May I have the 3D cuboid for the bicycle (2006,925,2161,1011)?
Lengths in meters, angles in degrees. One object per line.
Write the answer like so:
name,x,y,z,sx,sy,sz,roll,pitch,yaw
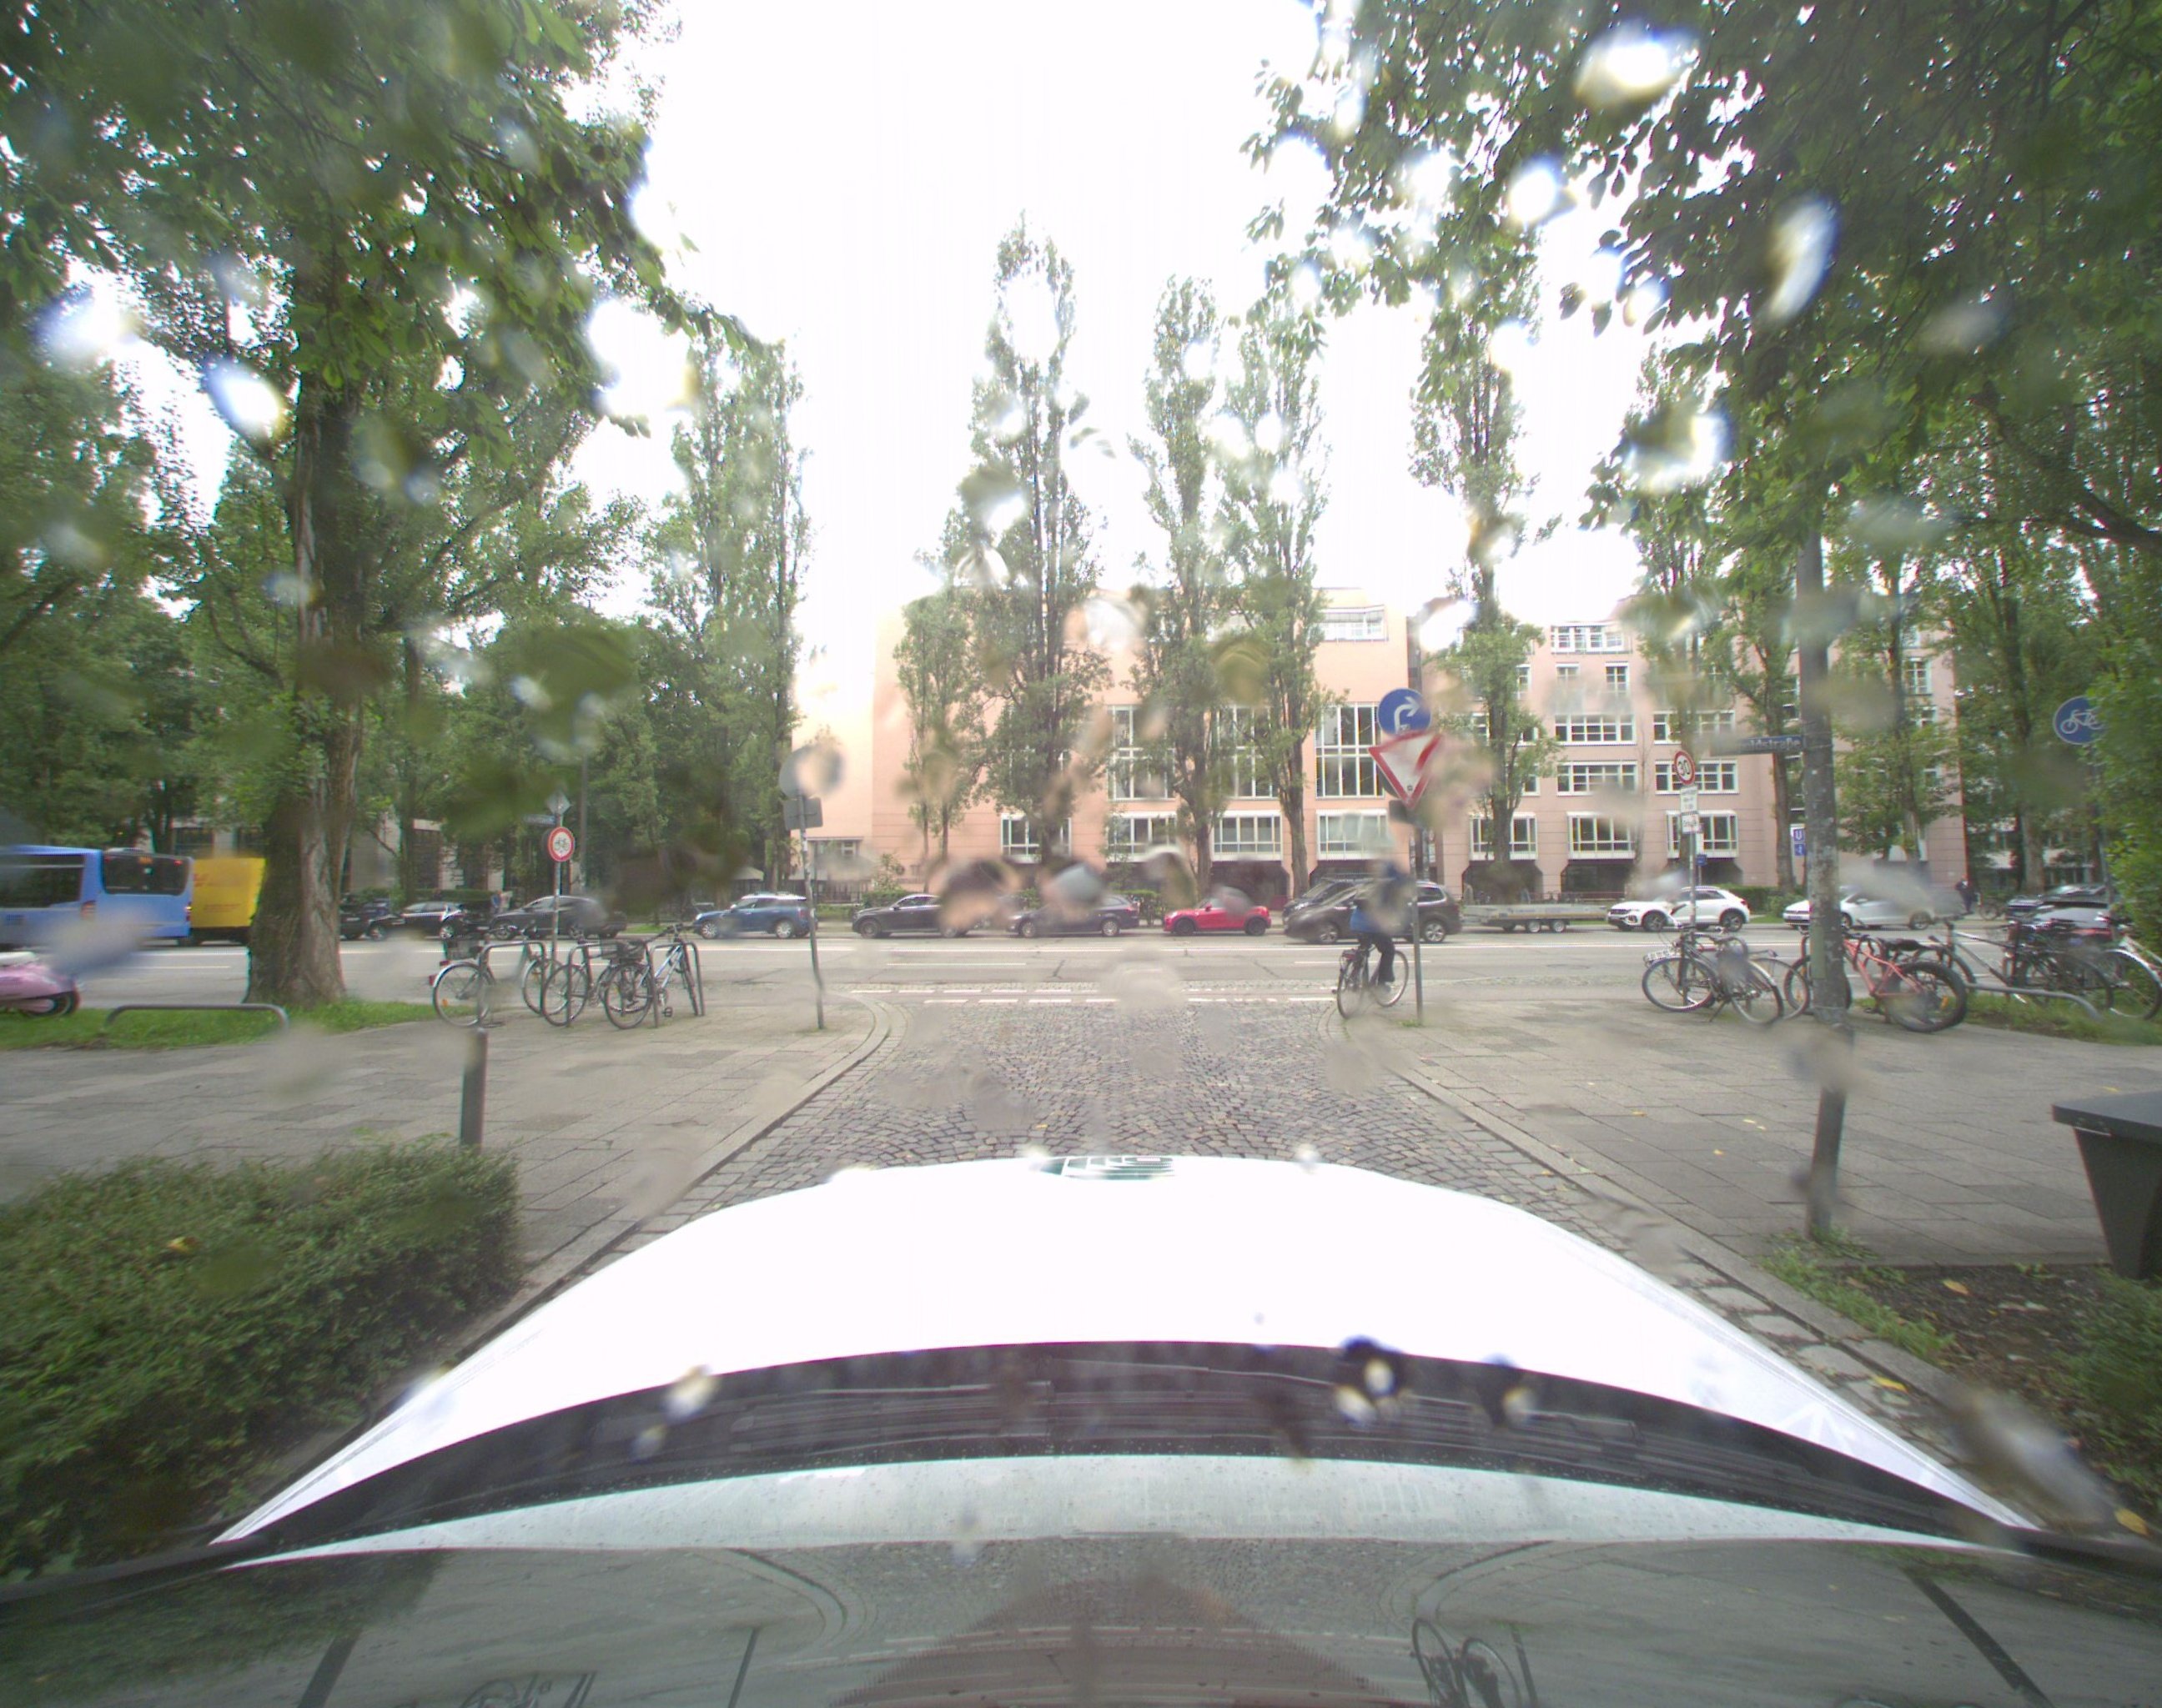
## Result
bicycle,11.281,1.214,8.867,0.468,0.818,1.836,-1,-3,7

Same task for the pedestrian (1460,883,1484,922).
pedestrian,17.760,2.197,36.958,0.726,1.714,0.709,0,-3,3

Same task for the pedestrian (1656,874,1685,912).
pedestrian,26.400,1.740,36.461,0.726,1.714,0.709,0,-3,3

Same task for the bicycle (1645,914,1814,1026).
bicycle,7.206,1.242,9.173,0.472,1.051,1.878,-1,-2,4

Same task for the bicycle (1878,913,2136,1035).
bicycle,9.646,1.195,8.620,0.510,1.105,1.931,-1,-3,2

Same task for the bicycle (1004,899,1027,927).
bicycle,-2.705,2.426,33.698,0.671,1.124,1.990,-1,-3,3

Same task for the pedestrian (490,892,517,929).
pedestrian,-27.611,2.690,38.969,0.726,1.714,0.709,0,-3,3

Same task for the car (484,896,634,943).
car,-18.780,2.344,29.414,4.207,1.601,1.794,-1,-3,2

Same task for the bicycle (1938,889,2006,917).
bicycle,36.794,2.004,33.666,0.671,1.124,1.990,-1,-3,3

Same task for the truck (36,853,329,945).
truck,-30.055,1.510,27.444,7.028,2.908,2.602,0,-3,2

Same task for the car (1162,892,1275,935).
car,4.820,2.106,29.014,3.843,1.449,1.680,-1,-3,4

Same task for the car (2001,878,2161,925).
car,35.180,1.638,28.175,4.293,1.542,2.001,-1,-3,2

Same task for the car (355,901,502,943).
car,-23.682,2.461,29.644,3.854,1.412,1.794,-1,-3,1

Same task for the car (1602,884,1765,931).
car,20.948,1.875,28.461,4.202,1.542,1.807,-1,-4,3

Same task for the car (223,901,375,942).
car,-28.733,2.464,30.004,3.854,1.412,1.794,-1,-3,1

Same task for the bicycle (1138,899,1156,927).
bicycle,2.720,2.414,33.508,0.671,1.124,1.742,-1,-3,3

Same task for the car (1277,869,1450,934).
car,9.947,1.675,29.002,5.458,2.197,2.024,-1,-3,2

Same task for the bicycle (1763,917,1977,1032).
bicycle,8.222,1.208,8.615,0.472,1.051,1.877,-1,-4,4

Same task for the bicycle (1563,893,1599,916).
bicycle,25.637,2.580,41.828,0.671,1.124,1.990,-1,-3,3

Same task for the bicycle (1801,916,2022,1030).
bicycle,8.712,1.199,8.674,0.472,1.051,1.877,-1,-4,4

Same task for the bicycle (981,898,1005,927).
bicycle,-3.629,2.393,33.588,0.671,1.124,1.990,-1,-3,3

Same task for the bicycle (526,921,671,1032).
bicycle,-5.532,1.365,9.461,0.487,1.093,1.706,-1,-3,7

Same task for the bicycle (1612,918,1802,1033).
bicycle,6.620,1.235,8.752,0.473,1.051,1.873,0,-3,-3

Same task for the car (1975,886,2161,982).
car,17.835,1.260,13.241,4.412,1.427,1.759,0,-1,5

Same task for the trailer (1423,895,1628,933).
trailer,15.686,2.112,29.040,5.994,1.200,2.406,-1,-3,2

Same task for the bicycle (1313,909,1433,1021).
bicycle,3.466,1.235,9.566,0.710,1.148,1.912,-4,-4,38

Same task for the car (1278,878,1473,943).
car,8.194,1.596,23.028,4.780,1.722,2.001,-1,-4,2

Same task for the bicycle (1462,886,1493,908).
bicycle,20.690,2.250,42.512,0.671,1.124,1.990,-1,-3,3

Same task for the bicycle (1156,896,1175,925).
bicycle,3.462,2.300,33.484,0.671,1.124,1.742,-1,-3,3

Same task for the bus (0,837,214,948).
bus,-31.552,1.185,24.268,8.454,3.052,2.929,-1,-3,3

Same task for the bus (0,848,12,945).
bus,-39.000,1.373,24.610,9.725,3.052,2.928,-1,-3,2

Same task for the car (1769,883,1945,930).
car,27.170,1.828,28.618,4.298,1.542,1.998,-1,-3,-2

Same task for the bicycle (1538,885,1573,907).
bicycle,24.630,2.159,42.328,0.671,1.124,2.108,-1,-3,3

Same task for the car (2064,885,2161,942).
car,30.663,1.649,22.874,3.725,1.527,1.849,0,-4,2

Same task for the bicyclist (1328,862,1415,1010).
bicyclist,3.365,0.915,9.428,0.715,1.620,0.761,-2,-3,38

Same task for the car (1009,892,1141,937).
car,-0.186,2.160,29.327,4.590,1.529,1.794,-1,-3,2

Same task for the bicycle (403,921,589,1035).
bicycle,-6.627,1.358,9.382,0.487,1.093,1.987,-1,-3,7

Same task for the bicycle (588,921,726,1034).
bicycle,-4.760,1.348,9.281,0.487,1.093,1.706,-1,-3,7

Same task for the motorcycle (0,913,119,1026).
motorcycle,-12.204,1.292,8.951,2.002,1.196,0.622,1,-3,-42

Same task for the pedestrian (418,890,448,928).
pedestrian,-29.549,2.514,37.146,0.726,1.714,0.709,0,-3,3

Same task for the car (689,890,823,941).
car,-11.708,2.214,29.527,4.051,1.732,1.793,-1,-4,0

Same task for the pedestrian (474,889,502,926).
pedestrian,-27.555,2.485,37.857,0.726,1.714,0.709,0,-3,3

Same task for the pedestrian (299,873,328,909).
pedestrian,-37.688,1.817,40.006,0.726,1.714,0.709,-2,-3,3

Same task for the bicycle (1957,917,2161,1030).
bicycle,10.566,1.216,8.721,0.509,1.038,1.836,-1,-3,7

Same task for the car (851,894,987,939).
car,-5.791,2.220,29.446,4.482,1.529,1.794,-1,-3,2
